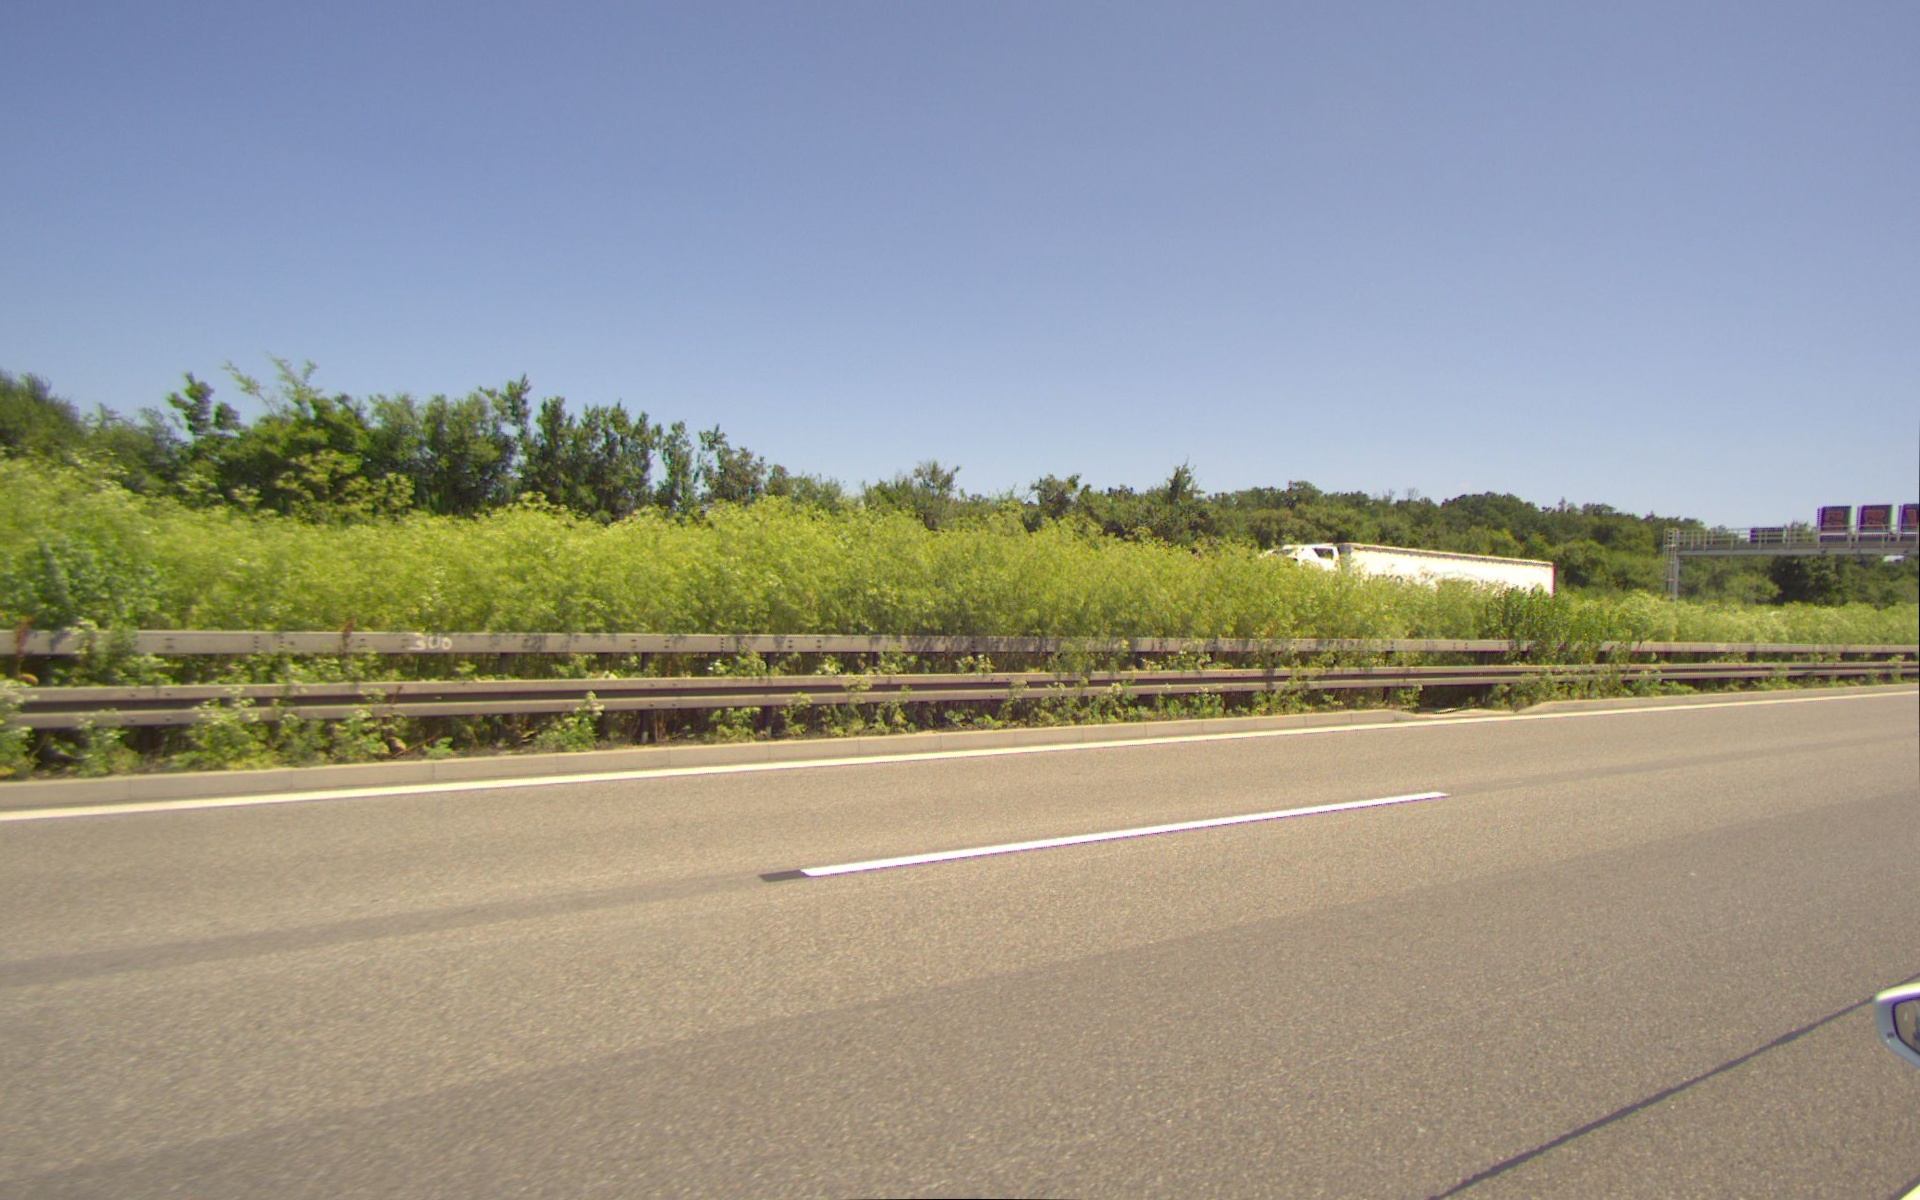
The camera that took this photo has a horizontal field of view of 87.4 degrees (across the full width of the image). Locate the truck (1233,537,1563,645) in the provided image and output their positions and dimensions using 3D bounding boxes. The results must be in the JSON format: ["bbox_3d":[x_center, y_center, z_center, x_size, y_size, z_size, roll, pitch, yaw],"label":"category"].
[{"bbox_3d":[17.510,-0.157,38.971,16.646,3.595,2.791,1,-2,-32],"label":"truck"}]
